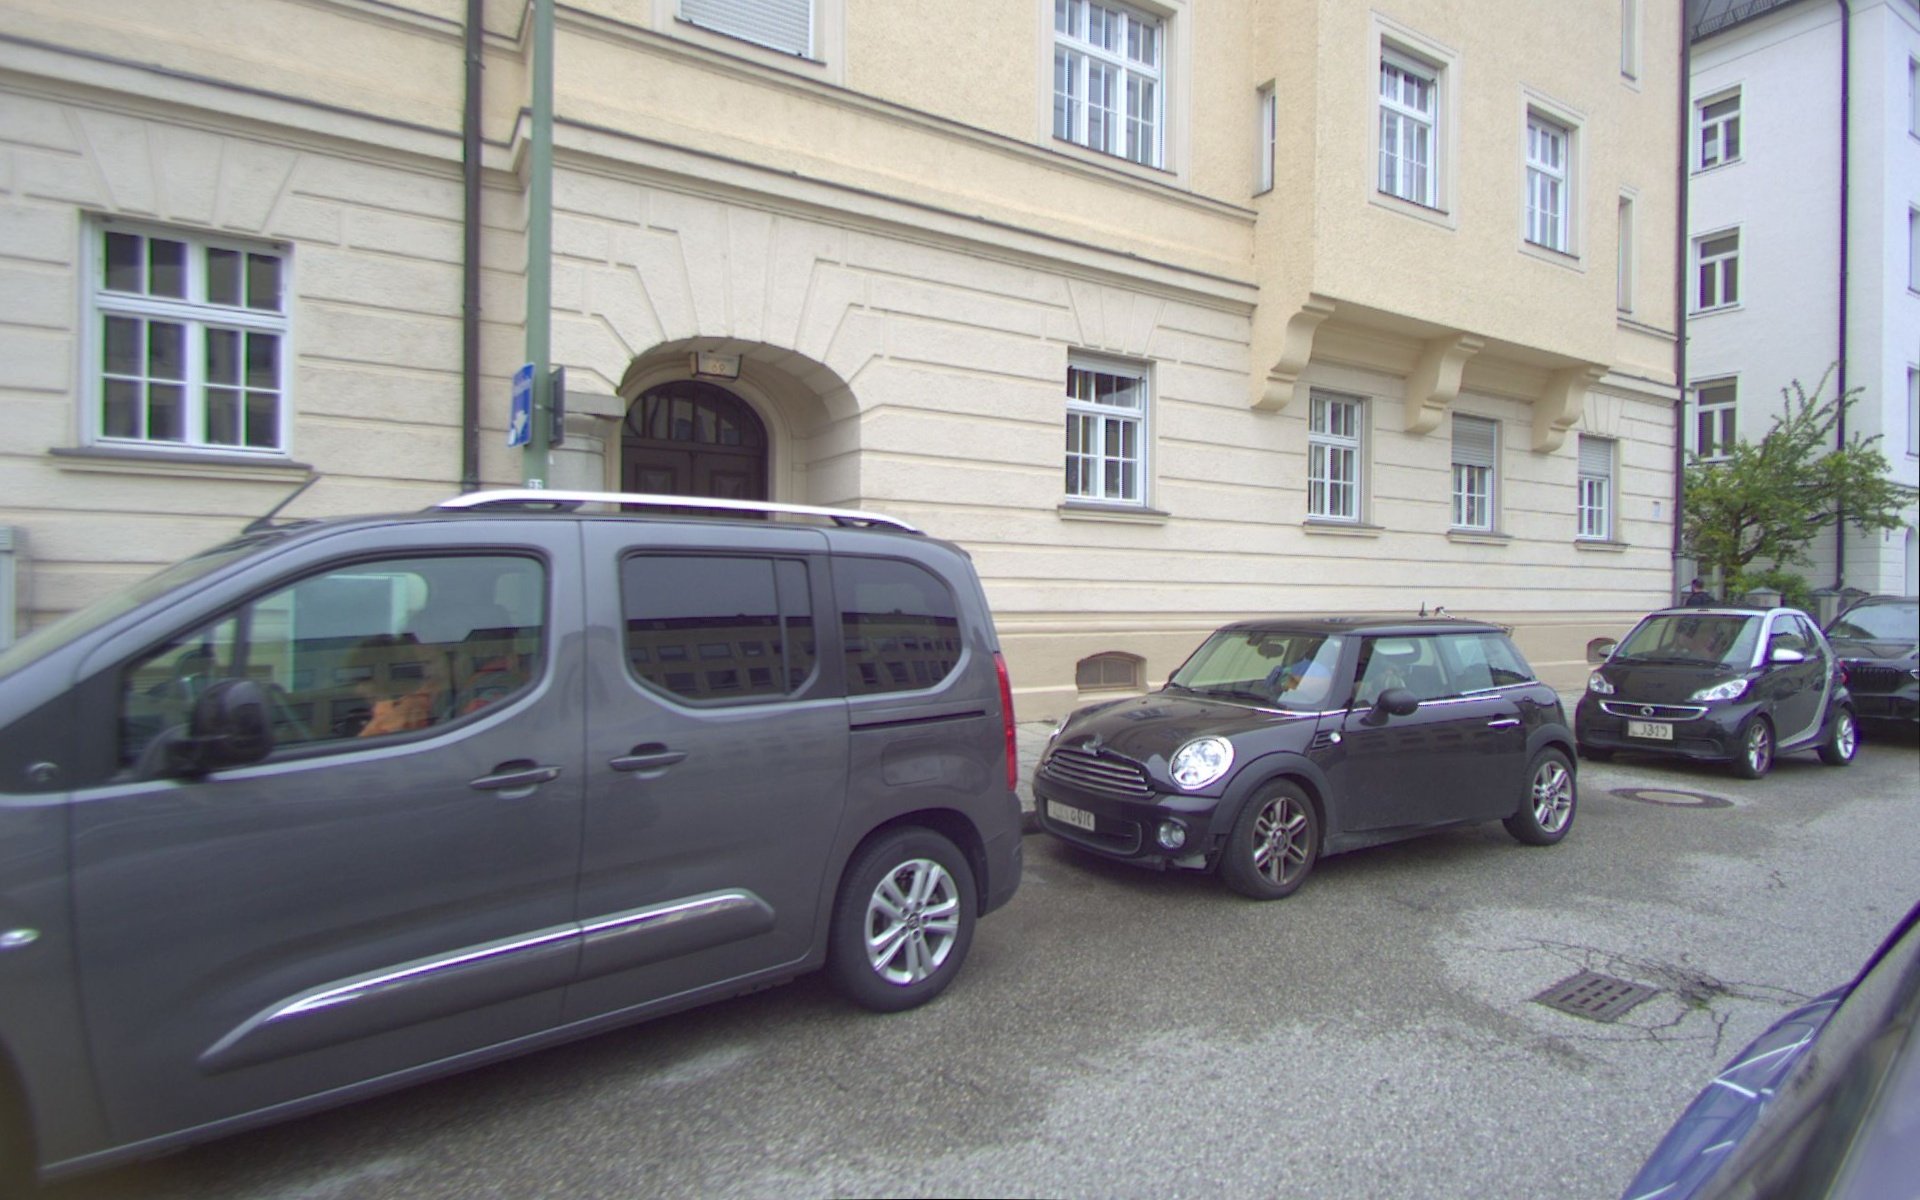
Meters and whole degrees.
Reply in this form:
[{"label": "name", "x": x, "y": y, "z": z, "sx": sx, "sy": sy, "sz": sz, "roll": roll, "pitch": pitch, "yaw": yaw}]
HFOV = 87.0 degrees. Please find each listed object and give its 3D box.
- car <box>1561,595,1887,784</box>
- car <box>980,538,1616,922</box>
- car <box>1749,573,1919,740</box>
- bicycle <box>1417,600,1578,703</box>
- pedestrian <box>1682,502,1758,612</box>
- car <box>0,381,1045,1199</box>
[{"label": "car", "x": 7.479, "y": 0.767, "z": 9.900, "sx": 2.805, "sy": 1.577, "sz": 1.514, "roll": 0, "pitch": -1, "yaw": -29}, {"label": "car", "x": 2.167, "y": 0.597, "z": 6.362, "sx": 3.656, "sy": 1.752, "sz": 1.843, "roll": 0, "pitch": -1, "yaw": -31}, {"label": "car", "x": 11.808, "y": 0.653, "z": 12.322, "sx": 4.593, "sy": 1.752, "sz": 1.935, "roll": 2, "pitch": -2, "yaw": -31}, {"label": "bicycle", "x": 7.193, "y": 0.636, "z": 13.486, "sx": 2.592, "sy": 1.262, "sz": 0.704, "roll": 0, "pitch": 0, "yaw": -32}, {"label": "pedestrian", "x": 12.607, "y": -0.697, "z": 16.812, "sx": 0.680, "sy": 1.783, "sz": 0.685, "roll": -1, "pitch": -1, "yaw": 0}, {"label": "car", "x": -1.828, "y": 0.481, "z": 3.368, "sx": 4.165, "sy": 1.822, "sz": 1.839, "roll": 0, "pitch": -1, "yaw": -42}]
